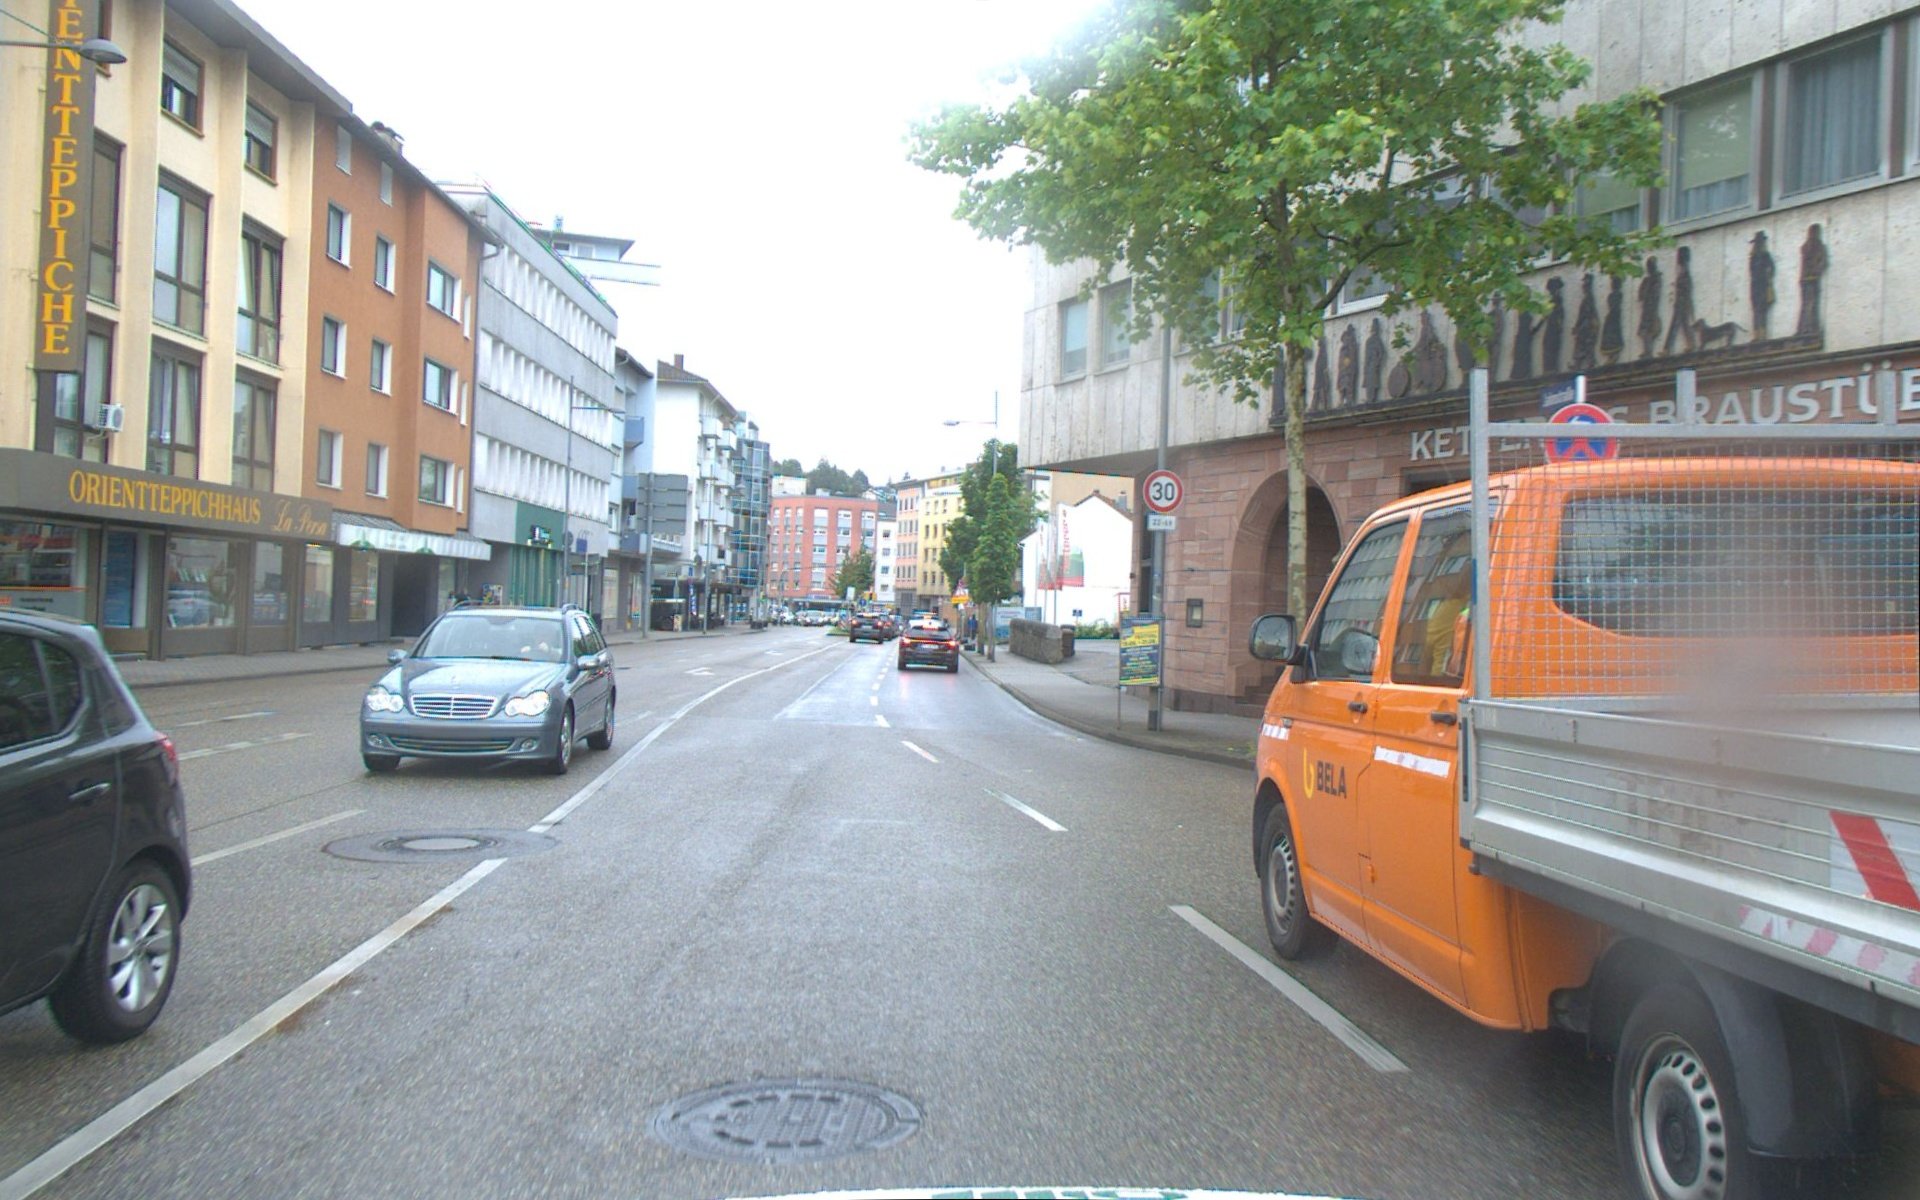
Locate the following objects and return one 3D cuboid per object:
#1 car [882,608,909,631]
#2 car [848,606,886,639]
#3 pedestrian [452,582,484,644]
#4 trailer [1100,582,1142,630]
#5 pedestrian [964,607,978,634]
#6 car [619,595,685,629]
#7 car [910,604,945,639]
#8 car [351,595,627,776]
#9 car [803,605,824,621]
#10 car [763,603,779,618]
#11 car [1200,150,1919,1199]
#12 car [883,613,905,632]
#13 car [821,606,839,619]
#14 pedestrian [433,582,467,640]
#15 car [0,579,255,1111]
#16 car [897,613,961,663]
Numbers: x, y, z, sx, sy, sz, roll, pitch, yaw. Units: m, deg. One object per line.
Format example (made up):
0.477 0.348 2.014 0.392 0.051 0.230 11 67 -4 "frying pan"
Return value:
-3.980 1.204 102.395 1.608 1.405 3.346 0 0 -2 "car"
-5.047 1.224 90.283 1.786 1.628 3.718 4 0 -1 "car"
-15.112 0.403 50.862 0.563 1.819 0.826 6 -1 -1 "pedestrian"
9.646 0.355 99.567 2.083 2.764 5.392 -1 0 1 "trailer"
0.743 1.361 110.557 0.774 1.786 0.872 0 -1 12 "pedestrian"
-19.937 0.799 107.208 3.882 2.070 1.580 2 -1 -1 "car"
-1.871 1.203 95.849 1.793 1.836 3.719 4 1 0 "car"
-4.278 0.707 15.695 1.699 1.465 4.408 1 0 -5 "car"
-14.189 1.263 160.606 1.673 1.493 4.828 -1 0 -1 "car"
-21.136 1.172 184.854 1.430 1.455 3.360 4 0 -12 "car"
2.327 0.383 5.209 2.060 2.126 5.538 -1 0 -3 "car"
-5.016 1.711 125.124 1.608 1.405 3.346 0 0 -2 "car"
-14.339 1.360 182.181 1.688 1.448 4.156 -1 0 -9 "car"
-15.689 0.340 50.907 0.617 1.704 0.908 6 -1 -2 "pedestrian"
-3.484 0.674 4.185 1.610 1.479 3.990 2 0 1 "car"
-0.992 1.131 50.952 1.754 1.427 4.630 1 0 -4 "car"
